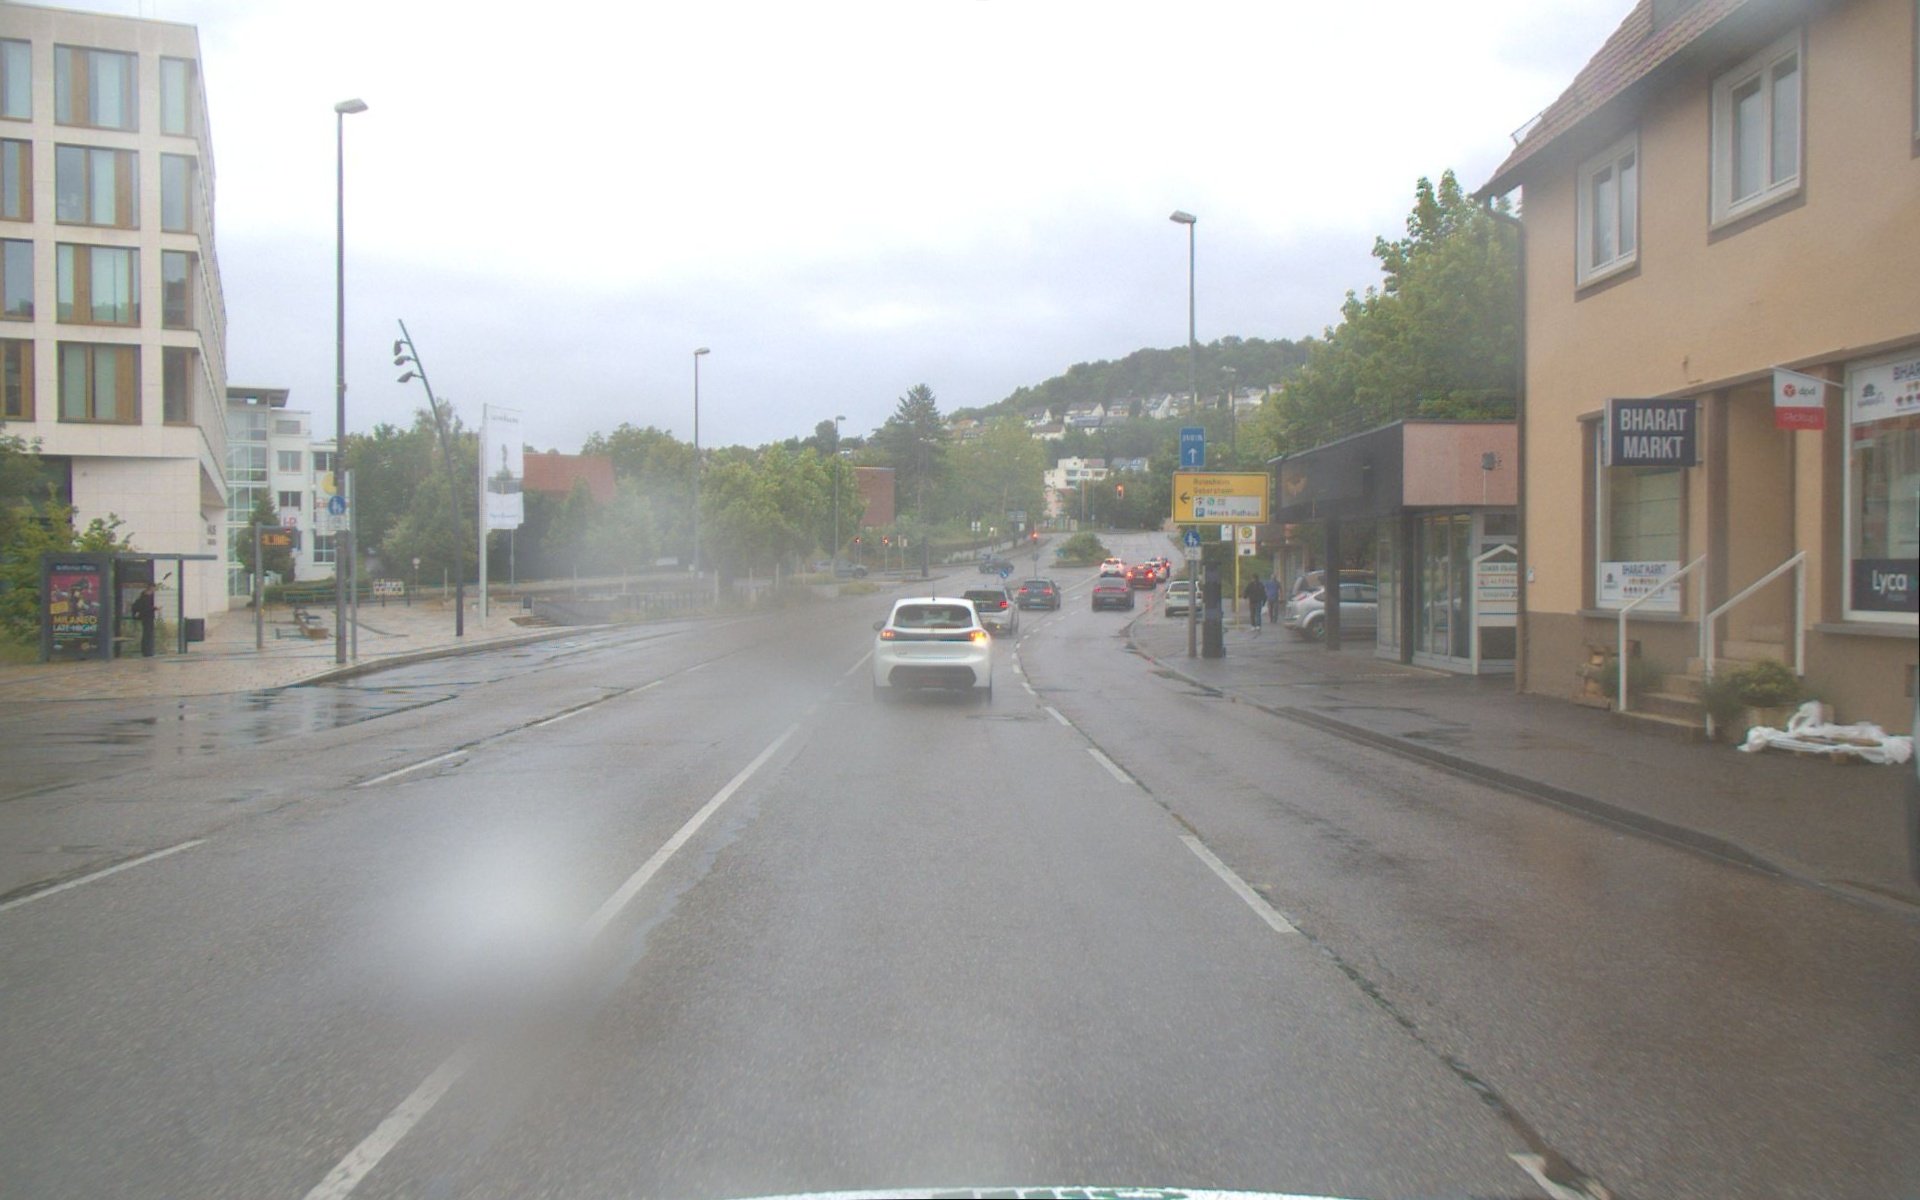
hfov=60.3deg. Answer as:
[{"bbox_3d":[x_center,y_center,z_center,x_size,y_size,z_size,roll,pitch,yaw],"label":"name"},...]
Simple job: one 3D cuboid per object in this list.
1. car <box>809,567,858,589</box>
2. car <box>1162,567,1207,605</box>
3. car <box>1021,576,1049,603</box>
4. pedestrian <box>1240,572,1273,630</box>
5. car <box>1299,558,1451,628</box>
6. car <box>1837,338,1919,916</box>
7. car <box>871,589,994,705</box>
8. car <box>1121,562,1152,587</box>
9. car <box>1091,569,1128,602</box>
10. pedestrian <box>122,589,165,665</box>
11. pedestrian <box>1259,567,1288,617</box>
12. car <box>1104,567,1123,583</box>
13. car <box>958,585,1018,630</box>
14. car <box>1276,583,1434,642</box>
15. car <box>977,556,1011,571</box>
[{"bbox_3d":[-9.914,-1.718,129.898,3.470,1.596,1.786,-1,-1,-26],"label":"car"},{"bbox_3d":[9.829,-0.622,72.194,1.693,1.523,4.485,-2,1,11],"label":"car"},{"bbox_3d":[3.527,-0.473,77.717,1.187,1.176,2.271,-1,-1,5],"label":"car"},{"bbox_3d":[9.640,0.025,53.715,0.700,1.853,0.790,0,-1,-27],"label":"pedestrian"},{"bbox_3d":[11.984,-0.209,47.965,4.008,1.903,1.877,-1,1,4],"label":"car"},{"bbox_3d":[4.626,0.071,4.469,2.242,2.424,6.630,-1,-1,13],"label":"car"},{"bbox_3d":[-0.328,0.661,24.333,1.656,1.546,3.933,0,-1,1],"label":"car"},{"bbox_3d":[11.736,-1.706,110.247,1.614,1.511,3.365,-1,-1,-2],"label":"car"},{"bbox_3d":[7.260,-0.712,80.519,1.697,1.411,3.355,1,4,4],"label":"car"},{"bbox_3d":[-19.391,0.651,39.293,0.769,1.776,0.671,-1,-1,-15],"label":"pedestrian"},{"bbox_3d":[11.348,-0.301,59.894,0.857,1.767,0.760,-2,1,1],"label":"pedestrian"},{"bbox_3d":[11.498,-1.864,123.703,1.356,1.146,2.611,-1,-1,4],"label":"car"},{"bbox_3d":[0.900,0.232,52.030,1.705,1.318,3.335,-1,0,4],"label":"car"},{"bbox_3d":[10.581,0.323,44.524,3.903,1.472,1.747,-1,1,4],"label":"car"},{"bbox_3d":[2.797,-2.974,135.206,2.390,1.177,1.359,-1,-1,-27],"label":"car"}]
